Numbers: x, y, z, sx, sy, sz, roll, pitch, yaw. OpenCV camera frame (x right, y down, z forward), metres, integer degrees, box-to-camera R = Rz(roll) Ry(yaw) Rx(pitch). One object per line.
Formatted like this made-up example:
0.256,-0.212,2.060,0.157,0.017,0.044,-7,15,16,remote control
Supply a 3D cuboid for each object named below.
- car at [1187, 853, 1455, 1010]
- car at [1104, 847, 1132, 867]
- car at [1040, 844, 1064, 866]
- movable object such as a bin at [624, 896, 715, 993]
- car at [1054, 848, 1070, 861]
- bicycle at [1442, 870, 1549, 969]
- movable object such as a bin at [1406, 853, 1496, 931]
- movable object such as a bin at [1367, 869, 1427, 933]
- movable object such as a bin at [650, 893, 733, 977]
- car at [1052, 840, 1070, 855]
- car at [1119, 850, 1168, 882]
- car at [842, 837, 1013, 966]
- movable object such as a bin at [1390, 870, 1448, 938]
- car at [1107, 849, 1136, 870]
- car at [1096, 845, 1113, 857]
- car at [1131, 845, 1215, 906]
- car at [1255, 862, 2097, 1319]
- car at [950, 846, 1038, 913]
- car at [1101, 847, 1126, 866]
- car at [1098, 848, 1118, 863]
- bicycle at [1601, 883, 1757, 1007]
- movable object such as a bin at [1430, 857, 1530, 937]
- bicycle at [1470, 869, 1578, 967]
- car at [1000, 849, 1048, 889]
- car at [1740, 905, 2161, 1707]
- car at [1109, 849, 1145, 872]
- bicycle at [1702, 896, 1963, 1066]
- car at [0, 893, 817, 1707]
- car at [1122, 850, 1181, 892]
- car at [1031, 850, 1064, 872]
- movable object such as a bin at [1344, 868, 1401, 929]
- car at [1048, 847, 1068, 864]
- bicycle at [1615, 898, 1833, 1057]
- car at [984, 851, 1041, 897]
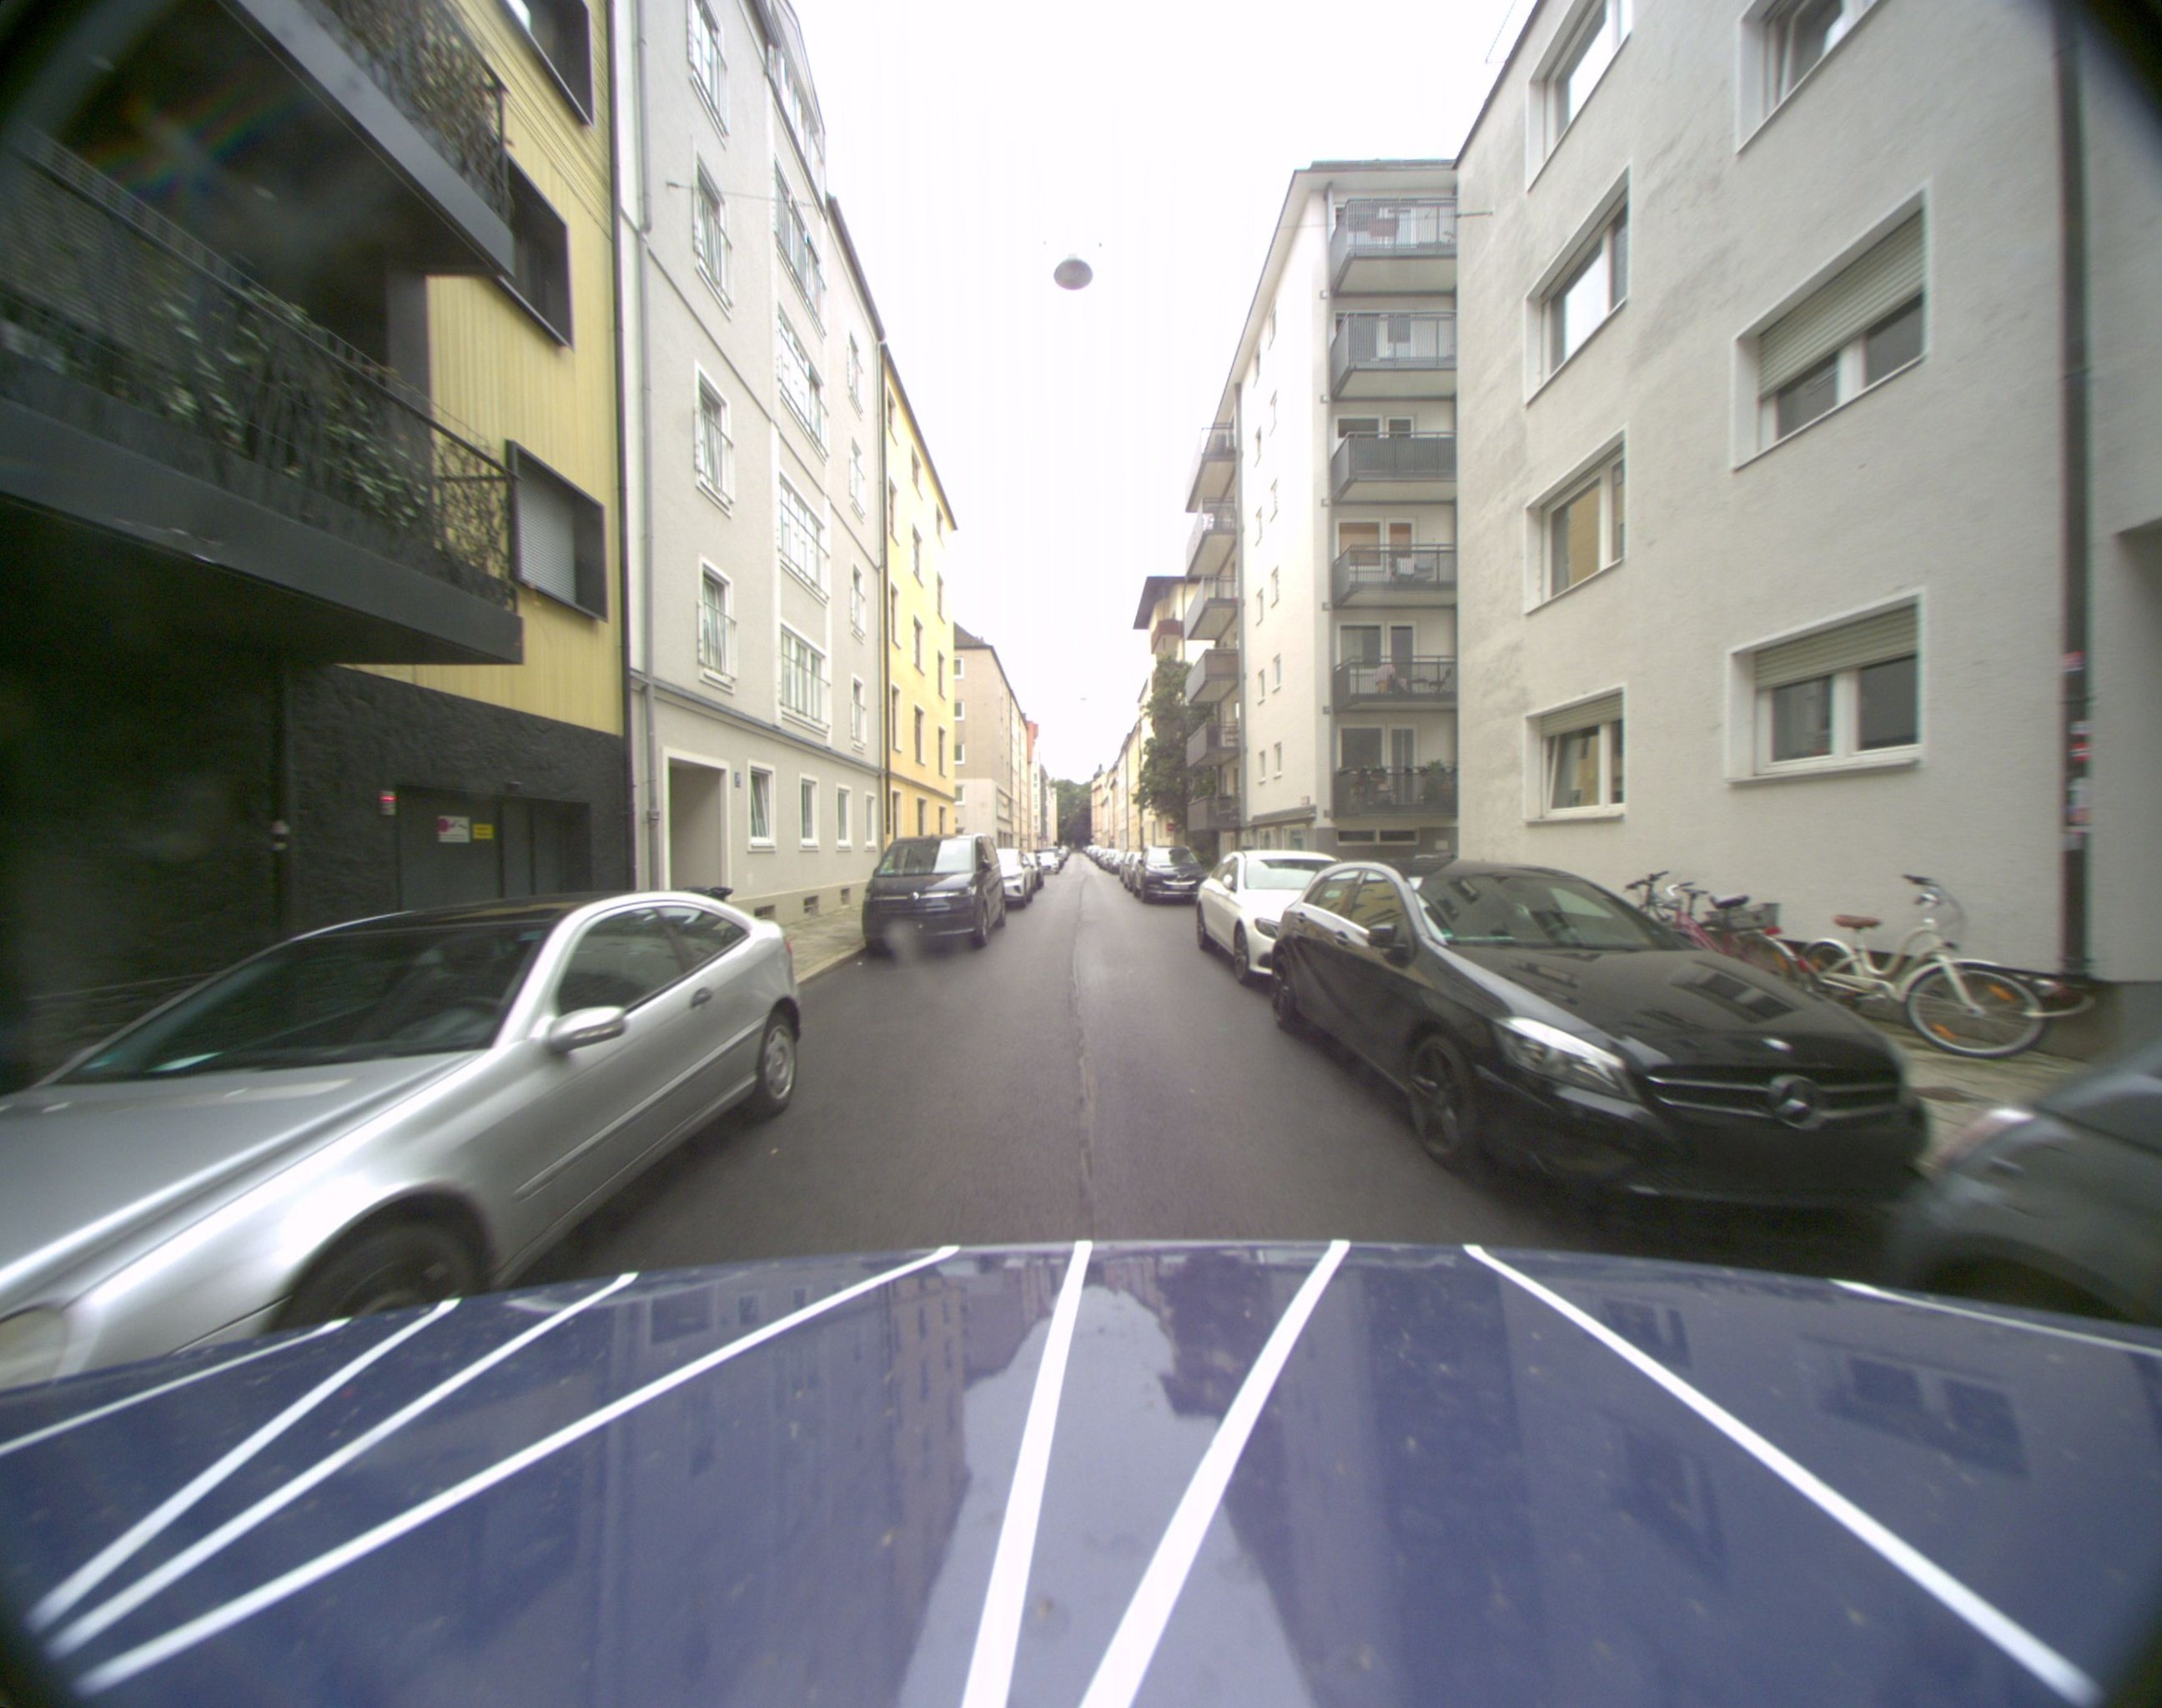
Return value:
2.674,0.756,9.787,1.917,1.429,4.807,-1,1,0,car
2.826,0.219,59.084,1.896,1.444,4.295,-1,1,0,car
-2.523,0.038,66.577,1.896,1.859,4.295,-1,1,0,car
-5.157,1.117,9.548,0.797,1.133,0.573,-1,1,-1,movable object such as a bin
-2.465,0.024,97.912,1.896,1.621,4.295,-1,1,0,car
5.446,0.817,10.097,0.405,1.132,1.683,-1,1,-4,bicycle
6.768,0.673,13.963,1.114,1.346,1.104,-1,1,1,movable object such as a bin
5.555,0.810,13.402,0.770,1.070,0.634,-1,1,-5,movable object such as a bin
-5.182,1.063,10.133,0.797,1.048,0.546,-1,1,-1,movable object such as a bin
-2.315,-0.783,89.251,1.896,1.621,4.295,-1,1,0,car
2.940,0.521,36.633,1.972,1.391,4.295,-1,1,0,car
-2.515,0.666,13.905,1.987,1.828,5.183,-3,1,0,car
5.675,0.825,12.775,0.692,1.070,0.604,-1,1,-5,movable object such as a bin
2.808,0.366,53.653,1.769,1.369,4.295,-1,1,0,car
2.841,-0.373,93.185,1.896,1.444,4.295,-1,1,0,car
2.654,0.553,22.880,1.972,1.598,4.539,-1,1,0,car
2.520,0.824,4.696,1.805,1.409,4.225,-1,1,-2,car
-2.337,0.622,21.590,1.966,1.665,4.540,-1,1,0,car
2.754,0.182,64.662,1.896,1.444,4.295,-1,1,0,car
2.711,0.137,76.753,1.896,1.444,4.295,-1,1,0,car
5.701,0.821,7.341,0.380,1.011,1.441,0,1,1,bicycle
6.716,0.695,12.847,1.123,1.256,1.097,-1,1,1,movable object such as a bin
5.858,0.803,10.148,0.342,1.132,1.683,-1,1,-4,bicycle
-2.316,0.578,31.861,1.691,1.496,3.856,-1,1,0,car
2.622,0.912,0.231,1.615,1.438,3.742,2,1,2,car
2.873,0.367,48.123,1.972,1.369,4.295,-1,1,0,car
5.568,0.876,5.766,0.399,1.011,1.574,0,1,0,bicycle
-2.651,1.022,3.072,1.739,1.421,4.201,-1,1,-1,car
2.604,0.580,28.877,1.818,1.434,4.295,-1,1,0,car
-2.229,0.452,51.498,1.972,1.369,4.295,-1,1,0,car
5.386,0.802,14.076,0.770,1.070,0.678,-1,1,-5,movable object such as a bin
-2.295,0.164,77.118,1.896,1.621,4.295,-1,1,0,car
5.137,0.924,6.206,0.388,1.011,1.624,0,1,0,bicycle
-2.393,0.663,27.368,1.691,1.496,3.856,-1,1,0,car
